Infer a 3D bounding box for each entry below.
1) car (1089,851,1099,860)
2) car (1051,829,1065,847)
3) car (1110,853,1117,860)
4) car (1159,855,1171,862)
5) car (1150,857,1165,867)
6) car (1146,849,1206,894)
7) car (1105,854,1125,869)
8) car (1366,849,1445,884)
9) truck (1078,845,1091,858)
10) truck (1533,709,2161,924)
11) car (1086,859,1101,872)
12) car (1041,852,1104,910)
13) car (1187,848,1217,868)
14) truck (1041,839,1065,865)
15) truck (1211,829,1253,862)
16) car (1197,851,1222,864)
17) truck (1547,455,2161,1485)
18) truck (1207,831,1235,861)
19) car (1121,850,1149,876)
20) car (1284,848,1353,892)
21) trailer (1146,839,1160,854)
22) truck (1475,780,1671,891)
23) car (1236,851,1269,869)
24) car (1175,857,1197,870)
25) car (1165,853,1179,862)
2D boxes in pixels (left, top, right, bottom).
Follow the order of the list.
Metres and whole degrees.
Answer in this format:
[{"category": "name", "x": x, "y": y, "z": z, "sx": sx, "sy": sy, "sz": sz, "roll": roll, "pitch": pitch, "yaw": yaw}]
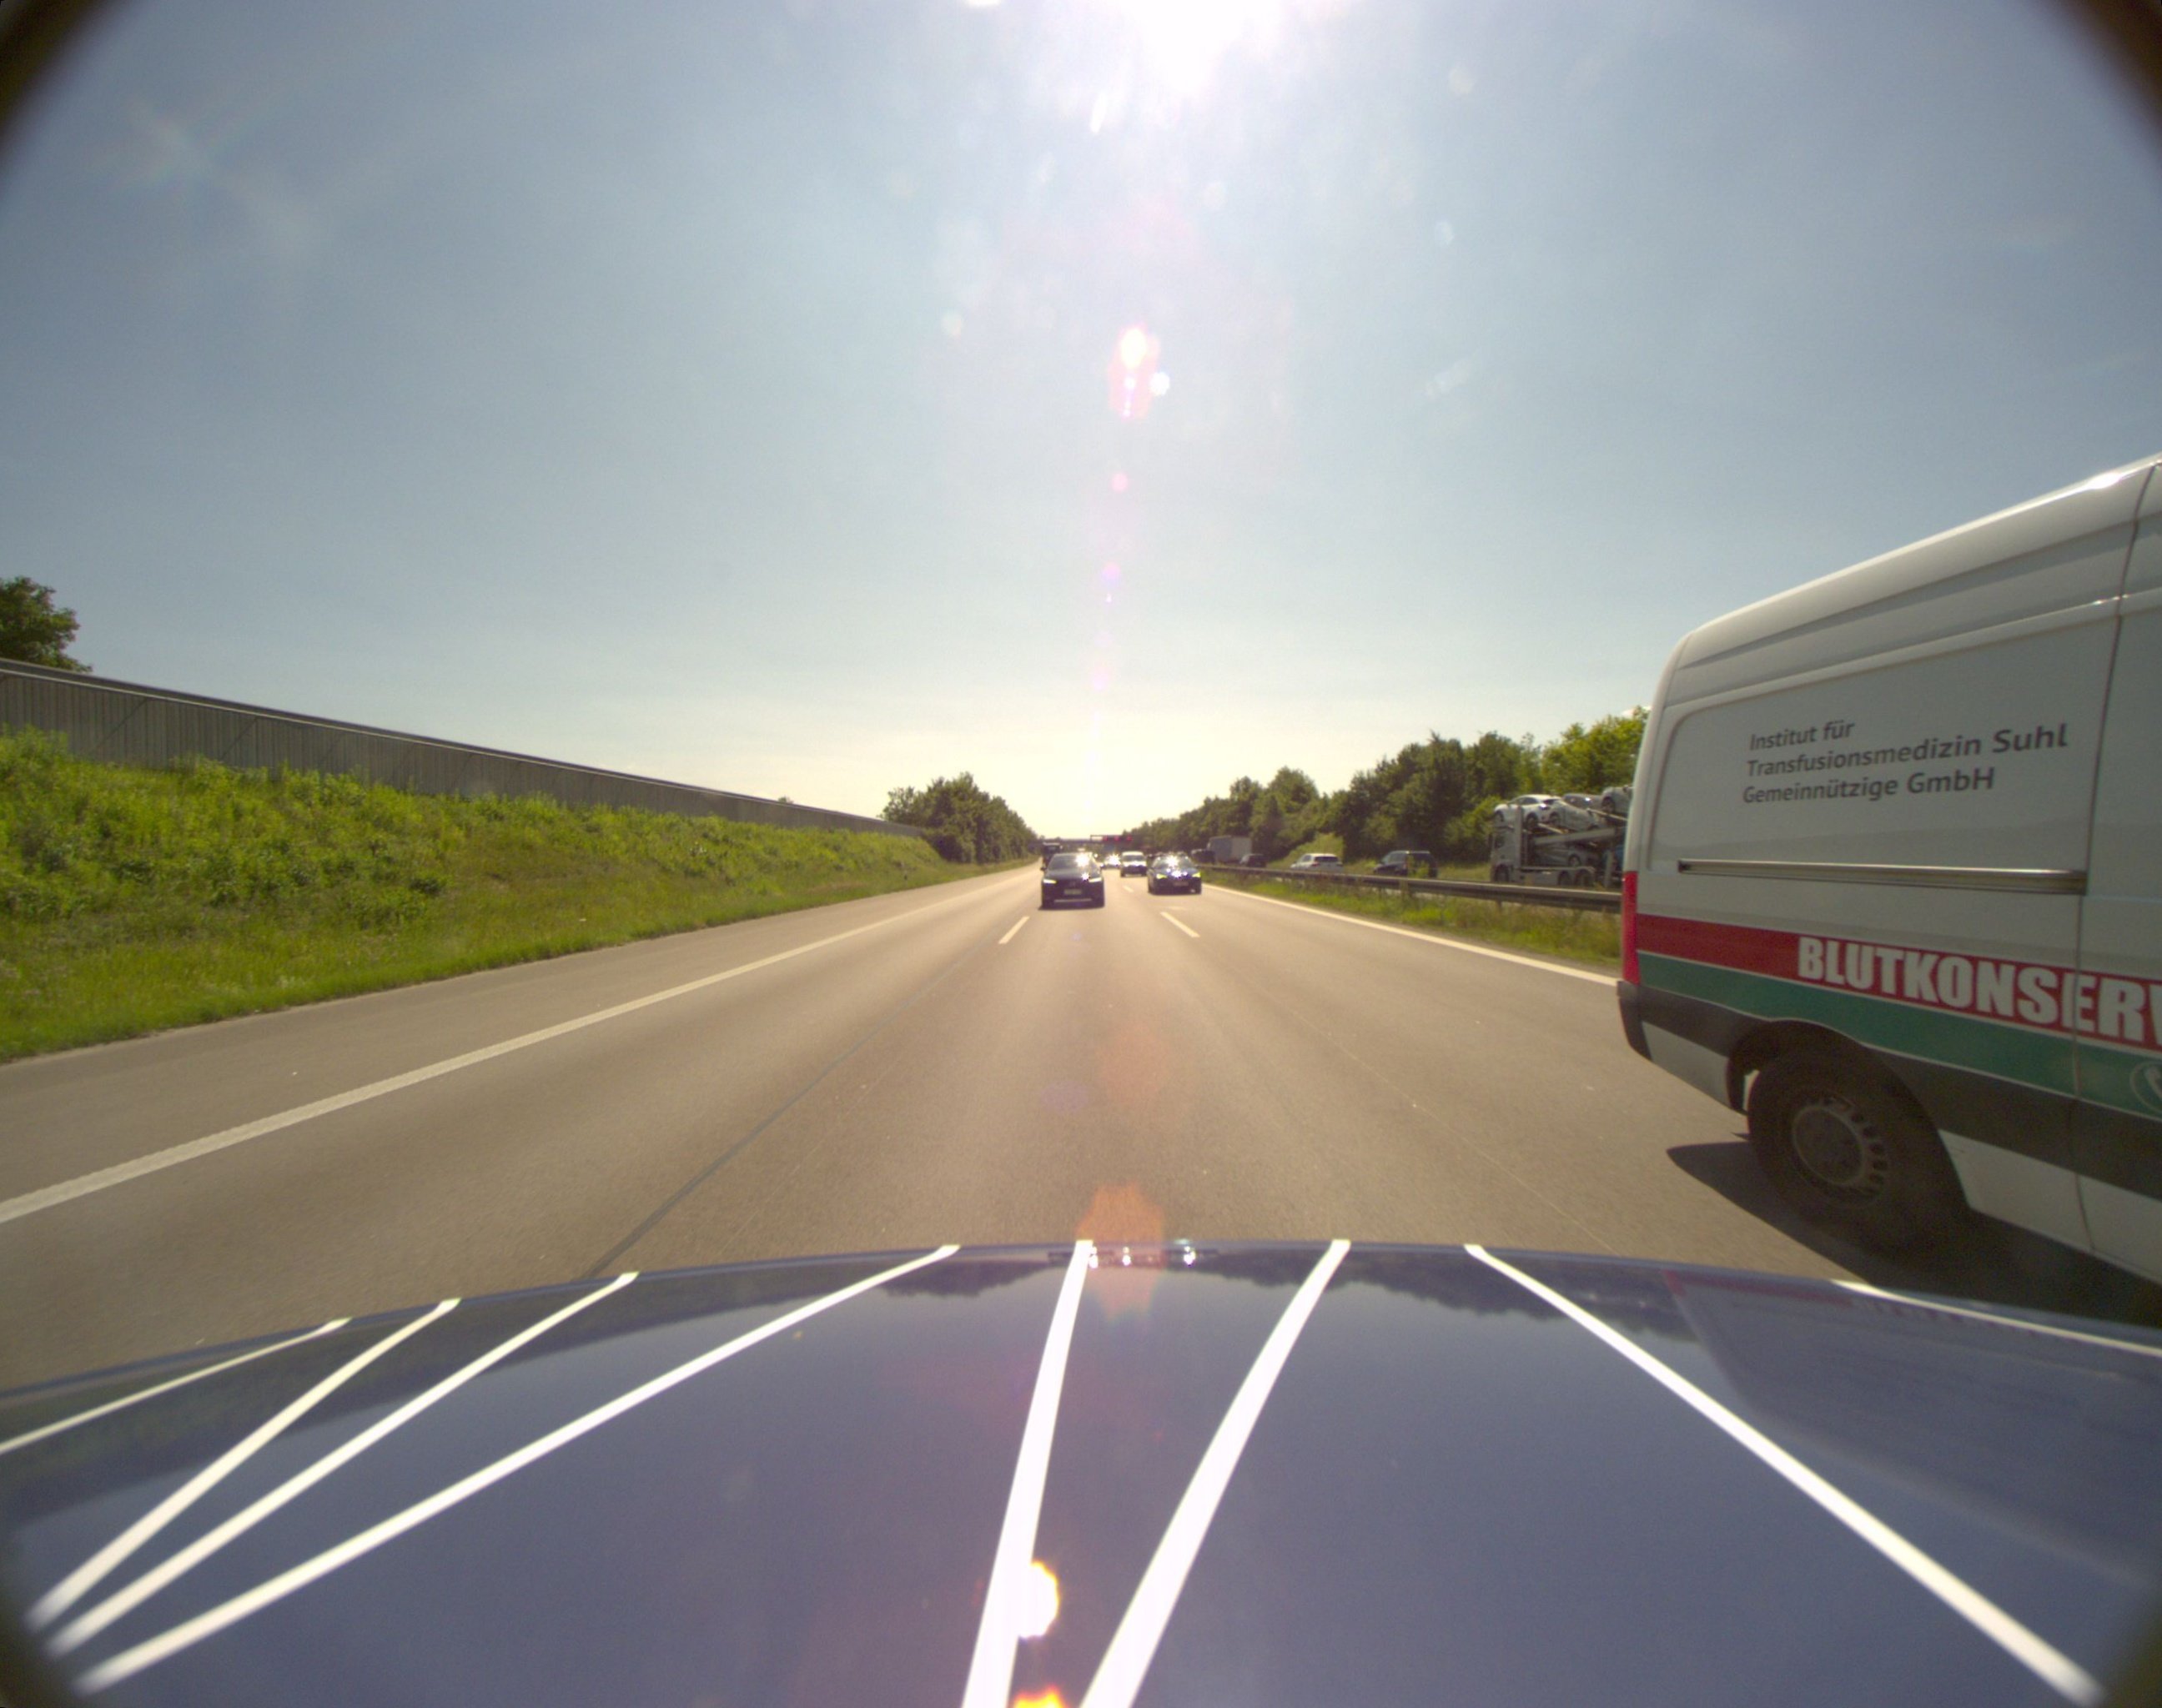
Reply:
[{"category": "car", "x": 2.972, "y": 0.330, "z": 173.732, "sx": 1.998, "sy": 2.002, "sz": 4.345, "roll": -1, "pitch": 0, "yaw": 0}, {"category": "car", "x": -5.260, "y": -3.591, "z": 174.191, "sx": 3.203, "sy": 3.997, "sz": 8.124, "roll": 0, "pitch": 1, "yaw": -2}, {"category": "car", "x": 9.444, "y": 0.671, "z": 221.216, "sx": 1.821, "sy": 1.892, "sz": 4.000, "roll": -1, "pitch": 0, "yaw": 0}, {"category": "car", "x": 18.576, "y": 0.950, "z": 167.634, "sx": 1.900, "sy": 1.430, "sz": 4.923, "roll": 2, "pitch": 0, "yaw": -1}, {"category": "car", "x": 12.633, "y": 1.245, "z": 125.329, "sx": 1.863, "sy": 1.591, "sz": 4.720, "roll": -1, "pitch": 0, "yaw": -1}, {"category": "car", "x": 3.694, "y": 0.653, "z": 30.150, "sx": 1.904, "sy": 1.616, "sz": 4.240, "roll": -2, "pitch": 0, "yaw": 1}, {"category": "car", "x": 3.822, "y": 0.865, "z": 85.315, "sx": 1.999, "sy": 1.540, "sz": 3.999, "roll": -1, "pitch": 1, "yaw": 0}, {"category": "car", "x": 16.007, "y": 0.569, "z": 37.742, "sx": 1.998, "sy": 1.604, "sz": 4.580, "roll": -1, "pitch": 0, "yaw": 0}, {"category": "truck", "x": 0.851, "y": -0.668, "z": 220.372, "sx": 3.243, "sy": 3.684, "sz": 10.931, "roll": 0, "pitch": 0, "yaw": -2}, {"category": "truck", "x": 20.161, "y": -0.725, "z": 22.628, "sx": 3.220, "sy": 4.026, "sz": 16.672, "roll": 0, "pitch": 0, "yaw": -1}, {"category": "car", "x": 1.617, "y": 1.490, "z": 97.473, "sx": 1.742, "sy": 1.630, "sz": 3.844, "roll": 0, "pitch": 1, "yaw": 3}, {"category": "car", "x": -0.265, "y": 0.792, "z": 24.354, "sx": 1.812, "sy": 1.648, "sz": 3.999, "roll": -2, "pitch": 0, "yaw": -1}, {"category": "car", "x": 11.986, "y": 0.357, "z": 75.742, "sx": 2.095, "sy": 1.934, "sz": 5.688, "roll": -1, "pitch": 0, "yaw": 0}, {"category": "truck", "x": -3.675, "y": -0.304, "z": 100.895, "sx": 2.965, "sy": 3.388, "sz": 8.046, "roll": 0, "pitch": 1, "yaw": -2}, {"category": "truck", "x": 19.756, "y": -1.093, "z": 100.474, "sx": 2.679, "sy": 4.054, "sz": 13.957, "roll": 1, "pitch": 0, "yaw": 0}, {"category": "car", "x": 15.485, "y": 0.427, "z": 91.799, "sx": 1.999, "sy": 1.501, "sz": 5.207, "roll": -1, "pitch": 0, "yaw": 0}, {"category": "truck", "x": 3.639, "y": 0.267, "z": 0.872, "sx": 1.999, "sy": 2.527, "sz": 6.691, "roll": -2, "pitch": 0, "yaw": 0}, {"category": "truck", "x": 19.631, "y": -1.136, "z": 106.832, "sx": 2.679, "sy": 4.055, "sz": 6.075, "roll": 1, "pitch": 0, "yaw": -1}, {"category": "car", "x": 3.880, "y": 0.597, "z": 54.884, "sx": 1.870, "sy": 1.713, "sz": 3.980, "roll": -1, "pitch": 1, "yaw": 2}, {"category": "car", "x": 11.995, "y": 0.764, "z": 38.777, "sx": 1.998, "sy": 2.002, "sz": 4.913, "roll": -1, "pitch": 1, "yaw": 0}, {"category": "trailer", "x": 18.149, "y": -1.932, "z": 192.358, "sx": 2.686, "sy": 3.747, "sz": 8.405, "roll": 0, "pitch": 0, "yaw": -1}, {"category": "truck", "x": 19.971, "y": -0.686, "z": 31.551, "sx": 3.249, "sy": 4.026, "sz": 7.394, "roll": 0, "pitch": 0, "yaw": -1}, {"category": "car", "x": 16.023, "y": 0.523, "z": 71.365, "sx": 1.969, "sy": 1.631, "sz": 4.895, "roll": -1, "pitch": 0, "yaw": 0}, {"category": "car", "x": 12.057, "y": 1.088, "z": 87.545, "sx": 1.879, "sy": 1.431, "sz": 5.018, "roll": -1, "pitch": 0, "yaw": 0}, {"category": "car", "x": 15.573, "y": 0.625, "z": 130.502, "sx": 1.799, "sy": 1.501, "sz": 4.349, "roll": -1, "pitch": 0, "yaw": -1}]
